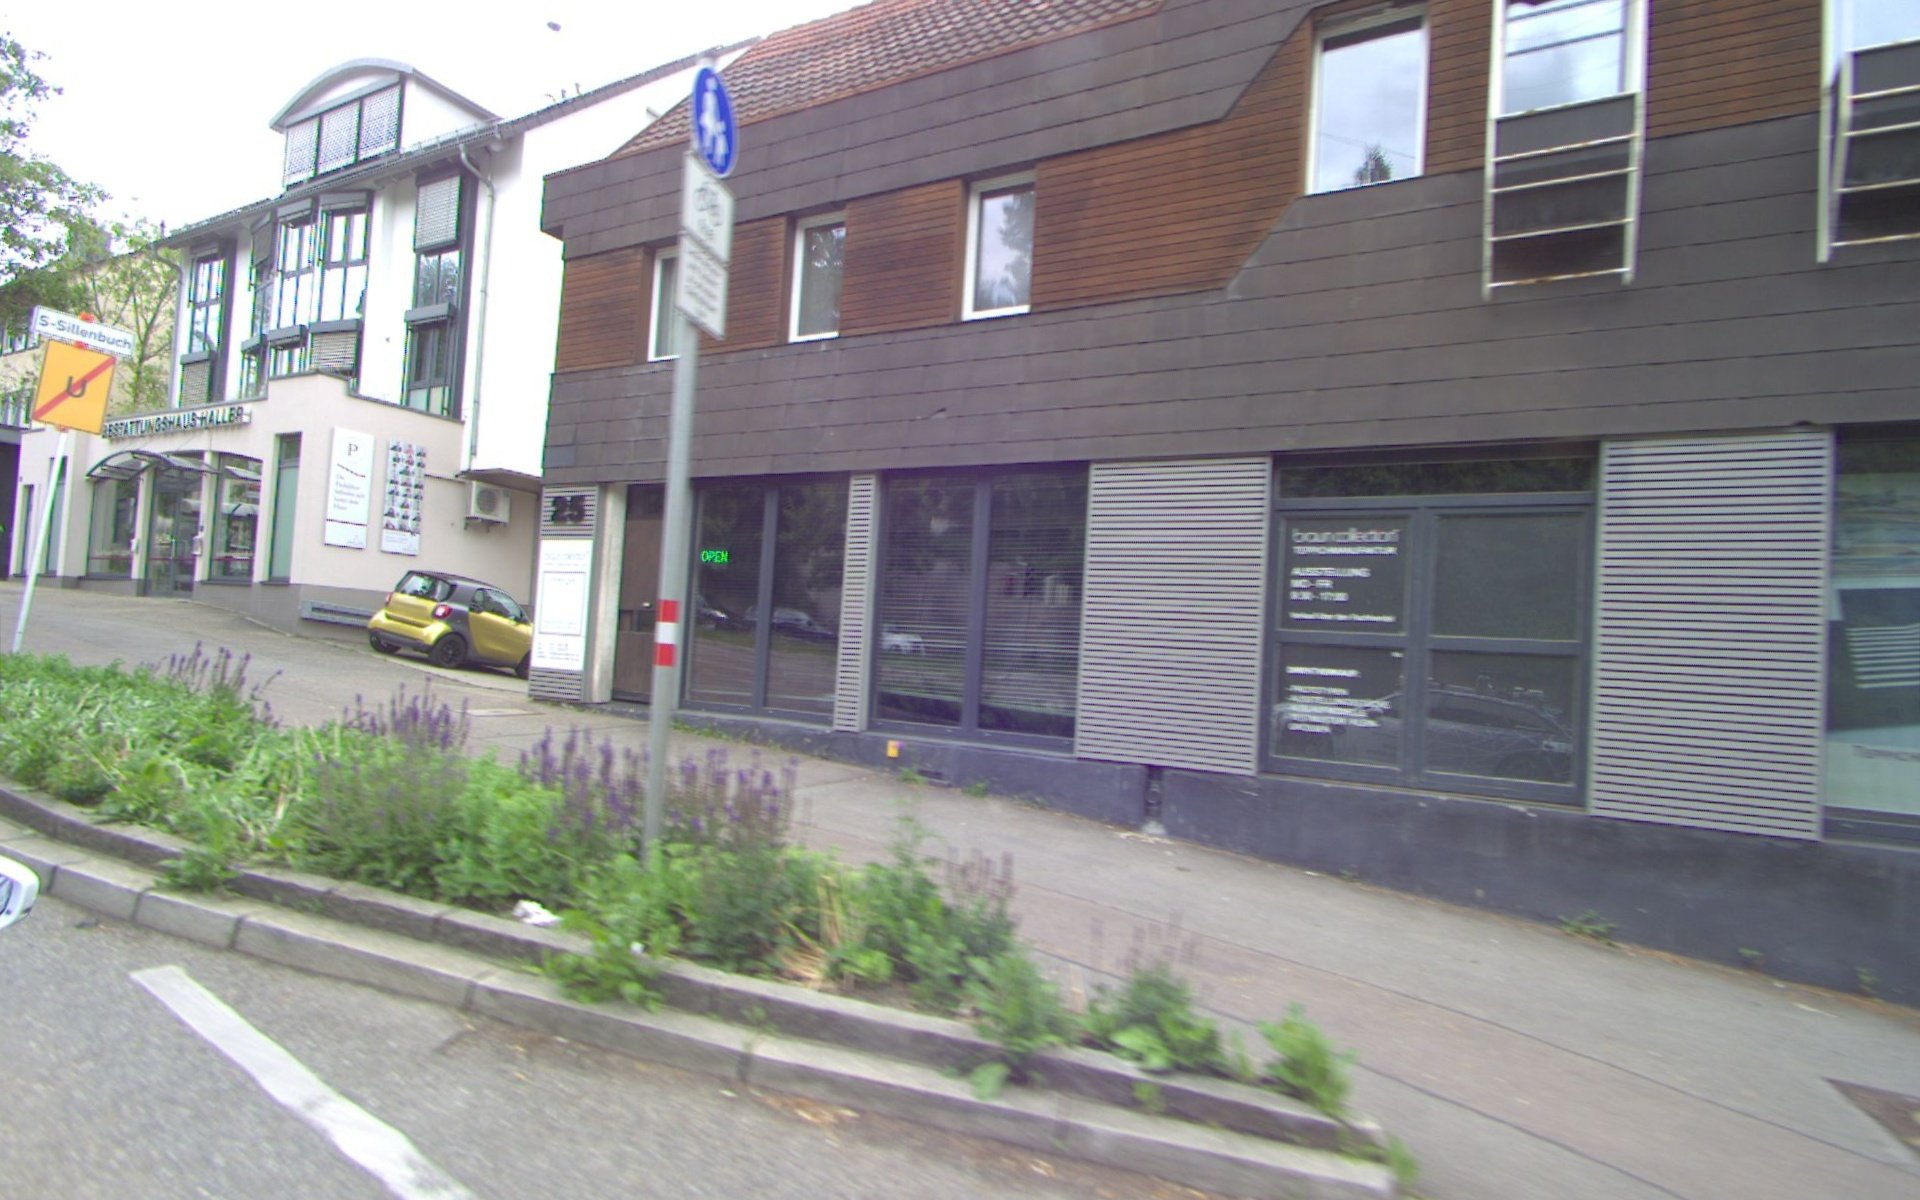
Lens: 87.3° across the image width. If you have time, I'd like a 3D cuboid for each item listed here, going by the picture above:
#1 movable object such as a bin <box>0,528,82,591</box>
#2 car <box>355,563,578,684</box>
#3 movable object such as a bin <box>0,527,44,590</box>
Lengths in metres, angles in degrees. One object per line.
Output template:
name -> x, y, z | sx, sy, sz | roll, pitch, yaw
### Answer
movable object such as a bin -> -24.309, -1.056, 26.533 | 1.109, 1.425, 1.342 | 6, -2, 32
car -> -8.612, 0.468, 17.810 | 1.636, 1.477, 3.009 | 8, -7, 25
movable object such as a bin -> -25.078, -1.219, 25.357 | 3.935, 1.468, 1.892 | 5, -2, 33
